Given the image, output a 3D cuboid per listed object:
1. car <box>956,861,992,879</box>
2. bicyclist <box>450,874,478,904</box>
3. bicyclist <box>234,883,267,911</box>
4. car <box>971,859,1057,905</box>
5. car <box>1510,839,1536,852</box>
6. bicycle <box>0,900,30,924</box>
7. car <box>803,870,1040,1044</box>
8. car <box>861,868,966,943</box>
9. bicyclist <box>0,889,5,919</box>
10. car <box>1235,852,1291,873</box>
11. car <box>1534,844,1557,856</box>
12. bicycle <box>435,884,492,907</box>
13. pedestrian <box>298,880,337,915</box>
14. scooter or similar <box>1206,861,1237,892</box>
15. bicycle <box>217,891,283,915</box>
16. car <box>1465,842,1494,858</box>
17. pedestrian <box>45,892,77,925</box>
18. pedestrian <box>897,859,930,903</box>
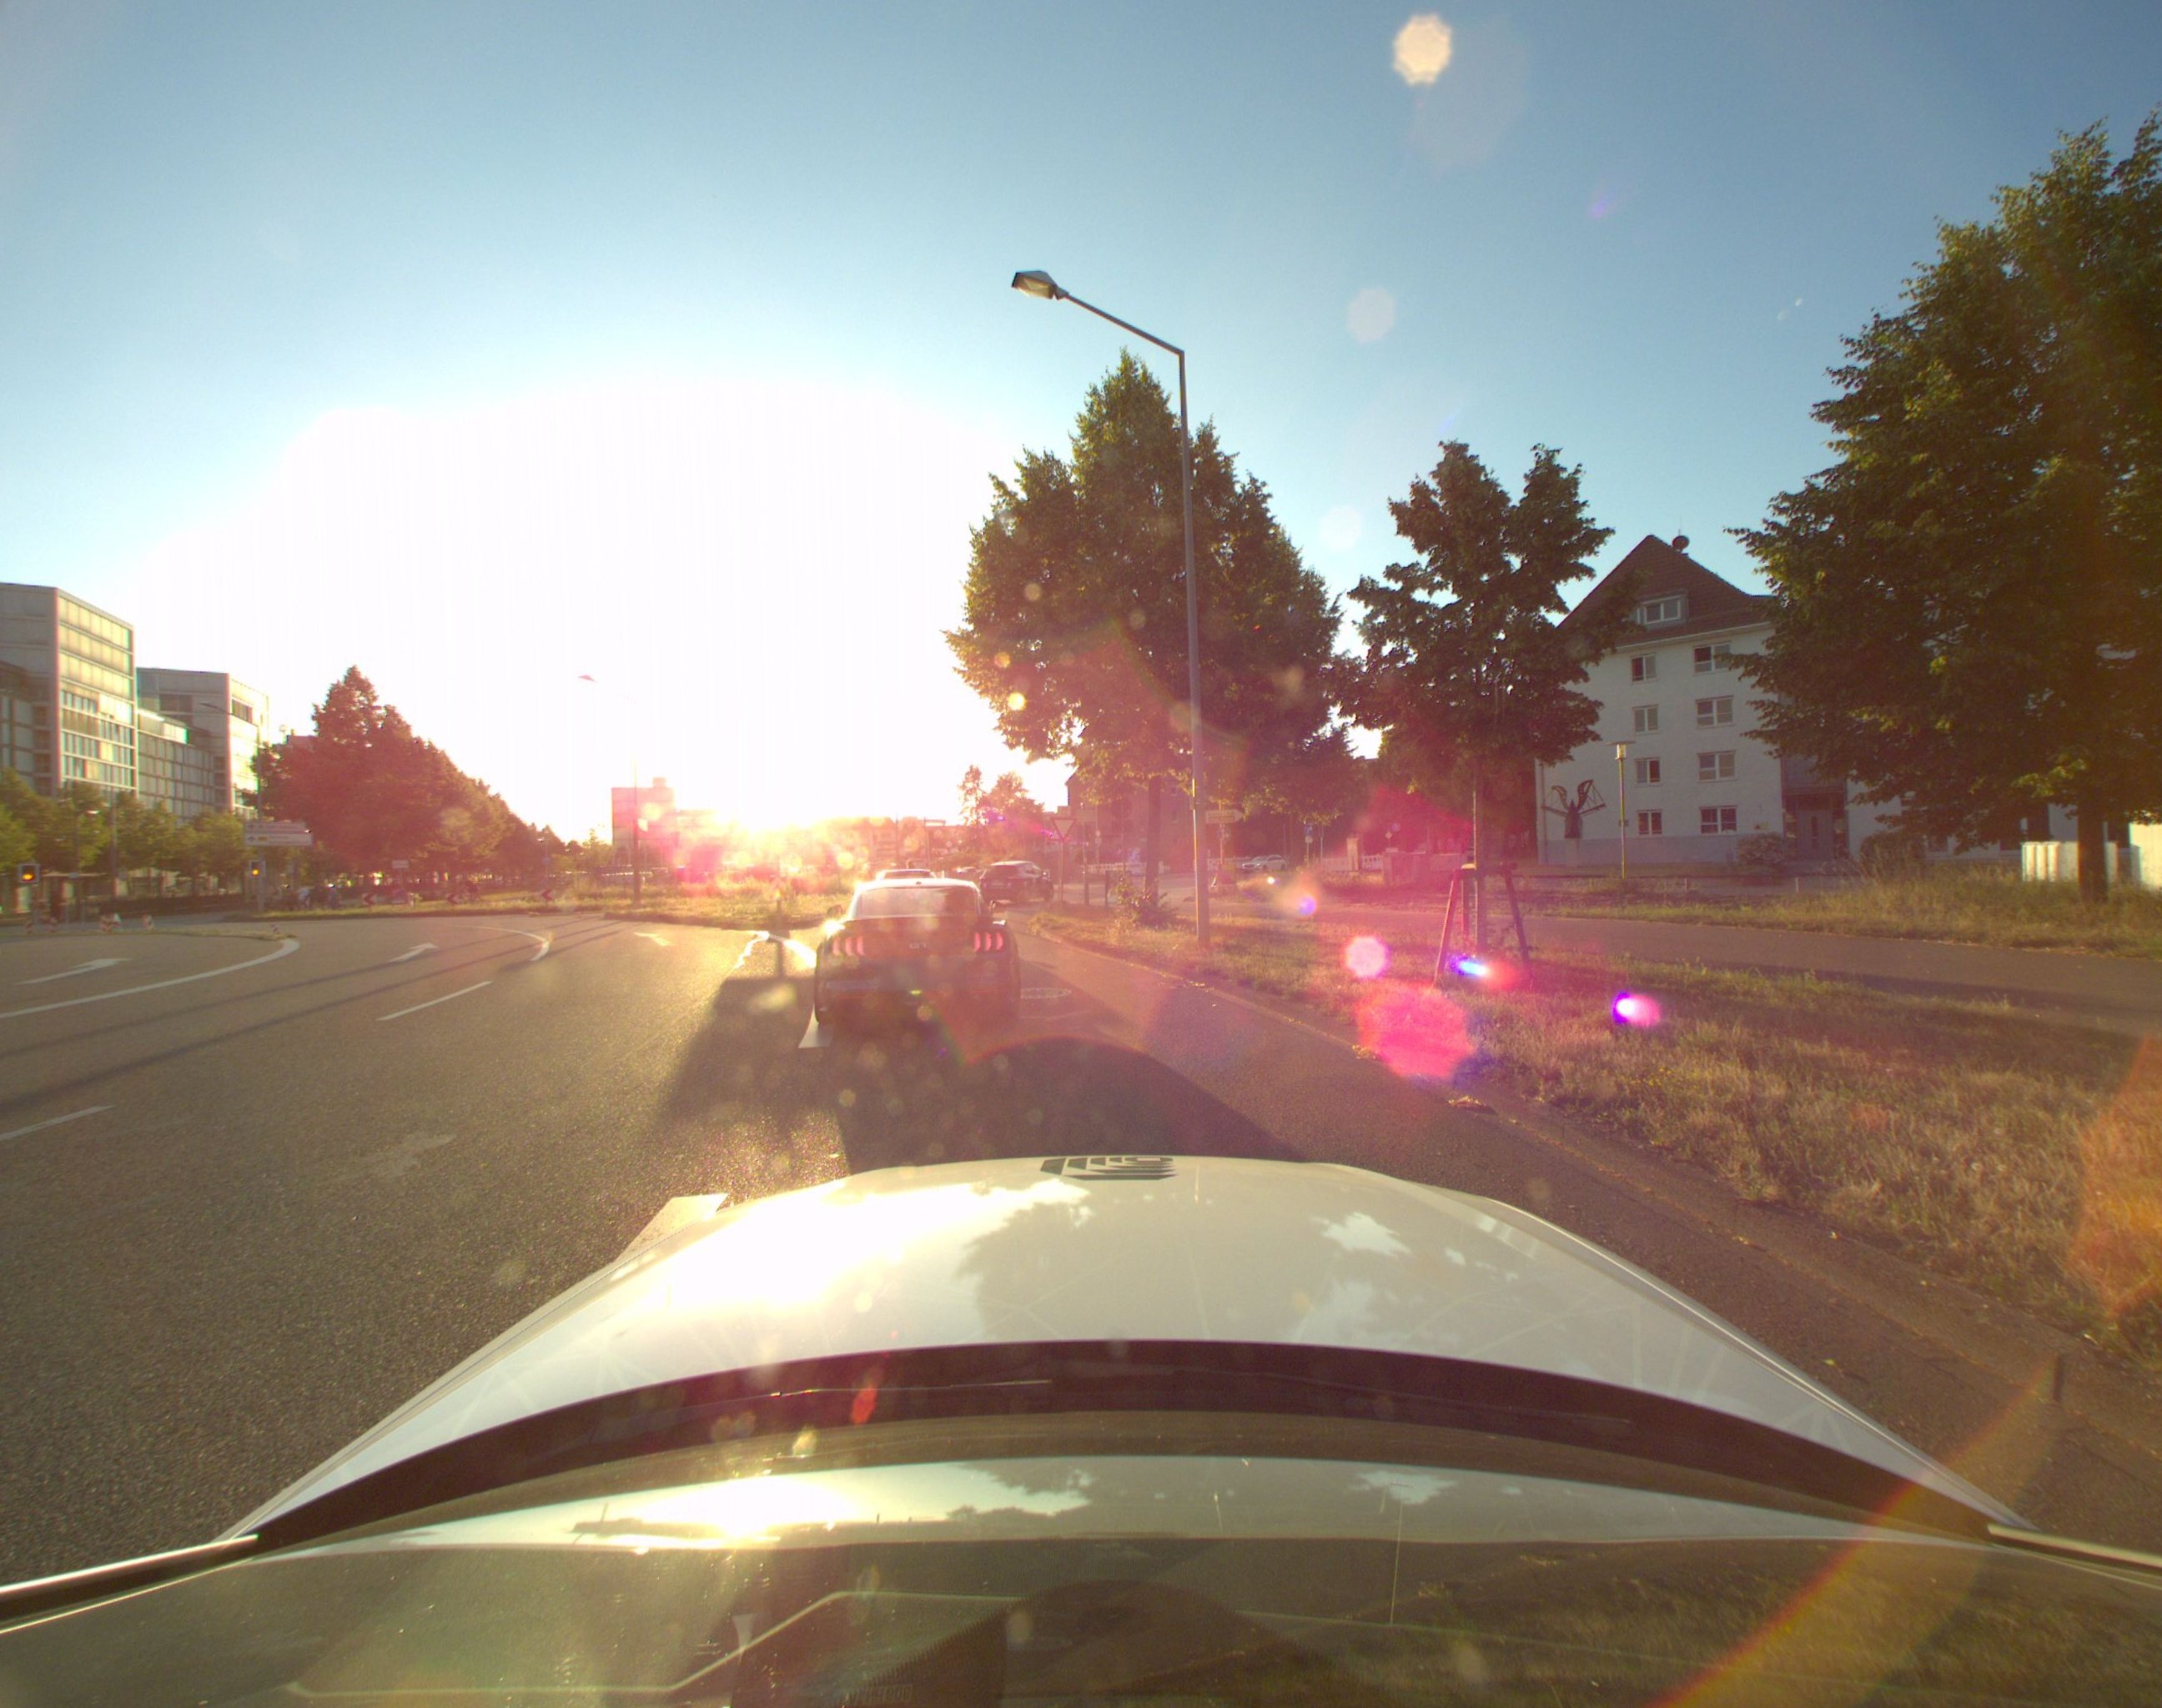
[{"bbox_3d":[-10.437,1.561,79.346,2.007,1.706,3.960,-1,-1,-31],"label":"car"},{"bbox_3d":[-34.517,1.941,45.541,0.975,1.612,0.752,-2,-1,-11],"label":"bicyclist"},{"bbox_3d":[-44.488,2.300,43.626,0.976,1.394,0.751,-2,-1,-13],"label":"bicyclist"},{"bbox_3d":[-2.491,1.009,31.271,1.936,1.602,4.095,0,0,16],"label":"car"},{"bbox_3d":[55.768,-1.047,102.656,1.933,1.602,4.102,-1,0,42],"label":"car"},{"bbox_3d":[-54.839,2.971,40.889,2.422,1.167,0.745,-1,-1,-42],"label":"bicycle"},{"bbox_3d":[-1.865,0.892,9.144,1.954,1.342,4.648,-1,-1,-14],"label":"car"},{"bbox_3d":[-3.730,1.040,17.824,1.954,1.427,4.408,1,-2,-14],"label":"car"},{"bbox_3d":[-54.933,2.526,40.862,0.984,1.525,0.745,-1,-1,-42],"label":"bicyclist"},{"bbox_3d":[14.455,0.652,64.584,4.683,1.452,2.050,-2,4,-43],"label":"car"},{"bbox_3d":[64.901,-0.628,113.761,1.933,1.602,4.102,-1,0,42],"label":"car"},{"bbox_3d":[-34.522,2.314,45.554,2.403,1.167,0.752,-2,-1,-11],"label":"bicycle"},{"bbox_3d":[-41.666,2.387,44.466,1.157,1.827,0.977,-2,-1,-8],"label":"pedestrian"},{"bbox_3d":[5.684,0.905,32.917,1.120,1.238,0.441,-1,0,-11],"label":"scooter or similar"},{"bbox_3d":[-44.495,2.609,43.639,2.404,1.167,0.751,-2,-1,-13],"label":"bicycle"},{"bbox_3d":[43.073,-0.437,87.935,1.932,1.602,4.103,-1,0,40],"label":"car"},{"bbox_3d":[-54.881,2.917,43.821,0.892,1.707,0.786,-1,-1,-36],"label":"pedestrian"},{"bbox_3d":[-6.652,1.073,32.304,0.875,1.686,0.852,-2,0,34],"label":"pedestrian"}]
